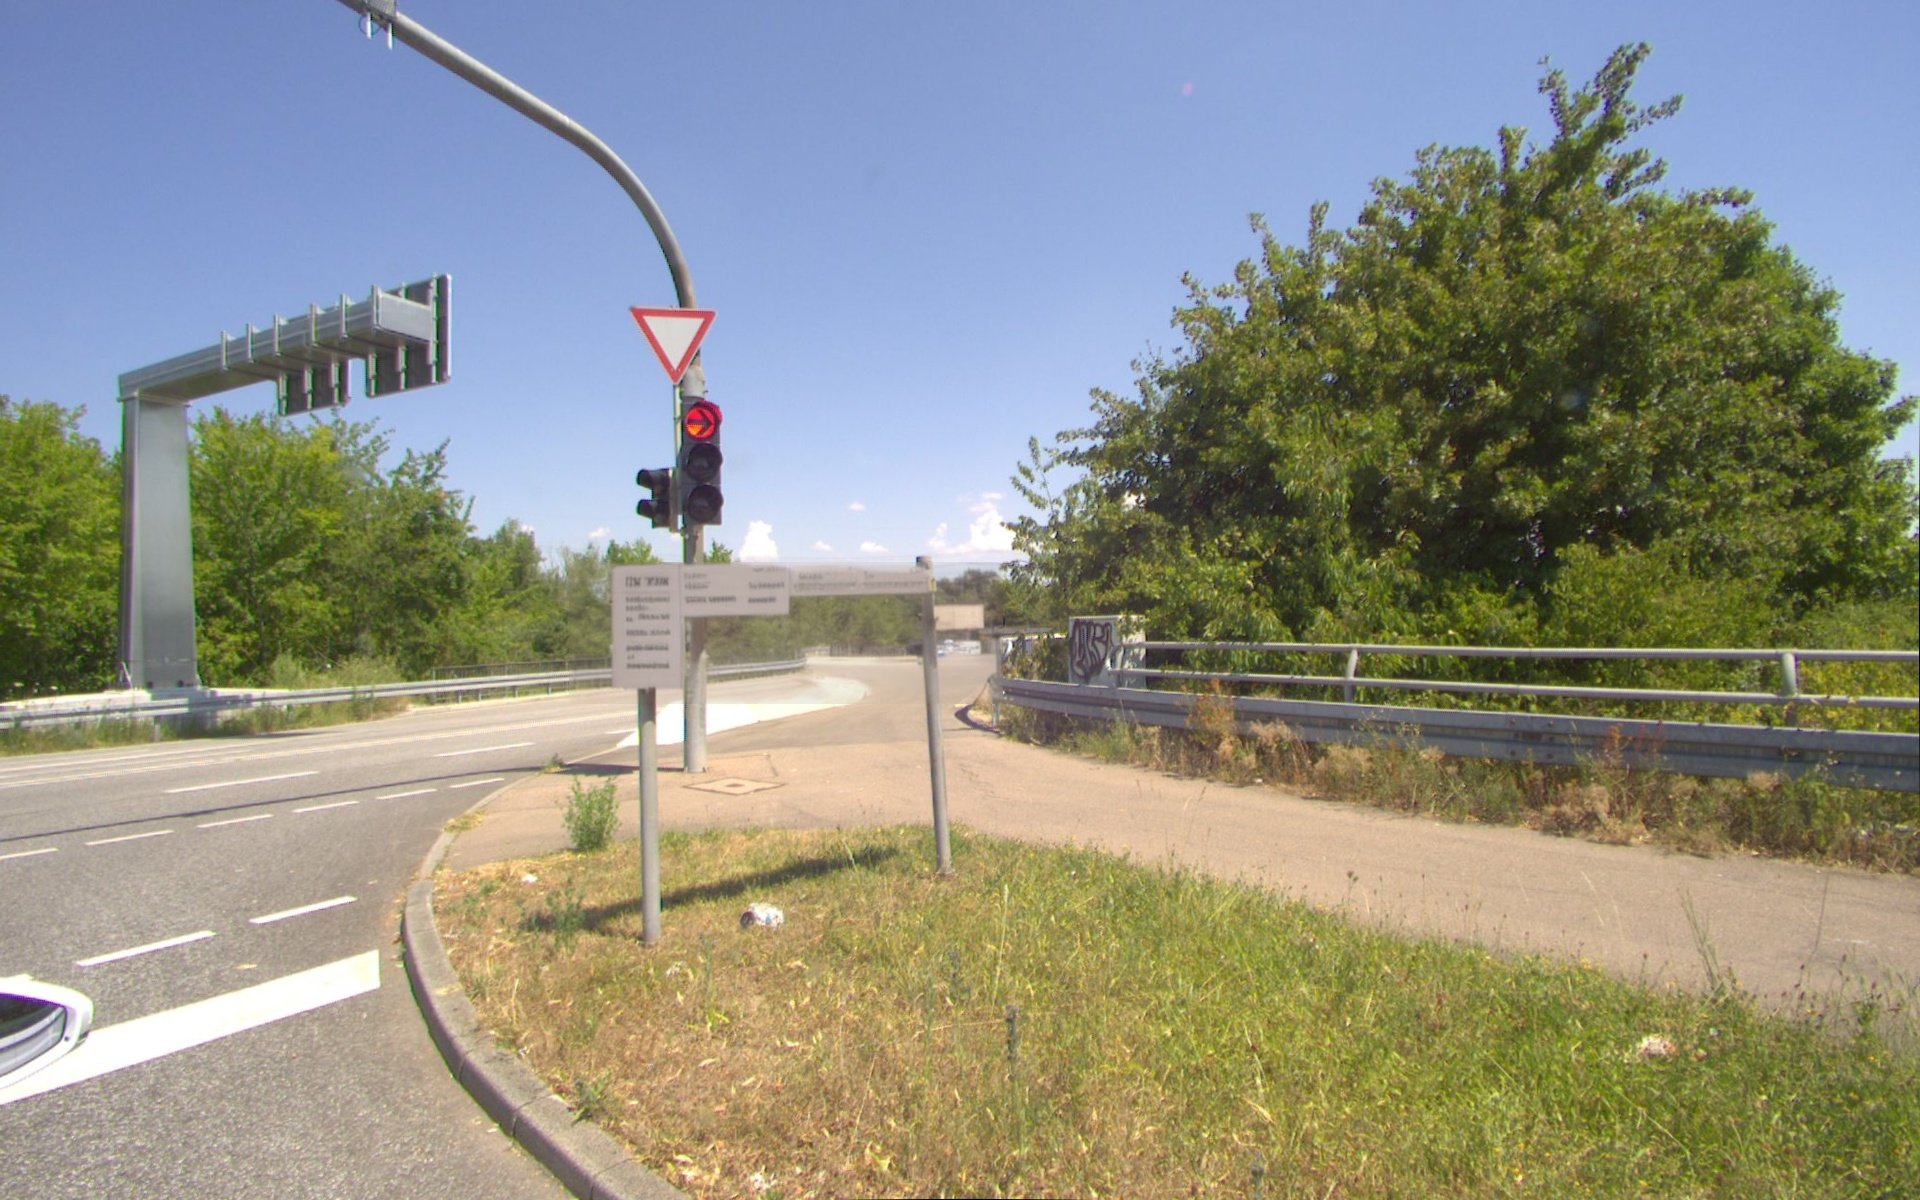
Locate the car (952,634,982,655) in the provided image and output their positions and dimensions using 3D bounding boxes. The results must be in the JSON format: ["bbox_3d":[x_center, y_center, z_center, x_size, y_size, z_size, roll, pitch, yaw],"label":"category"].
[{"bbox_3d":[0.543,3.264,73.615,1.619,1.368,3.970,-3,-3,7],"label":"car"}]
